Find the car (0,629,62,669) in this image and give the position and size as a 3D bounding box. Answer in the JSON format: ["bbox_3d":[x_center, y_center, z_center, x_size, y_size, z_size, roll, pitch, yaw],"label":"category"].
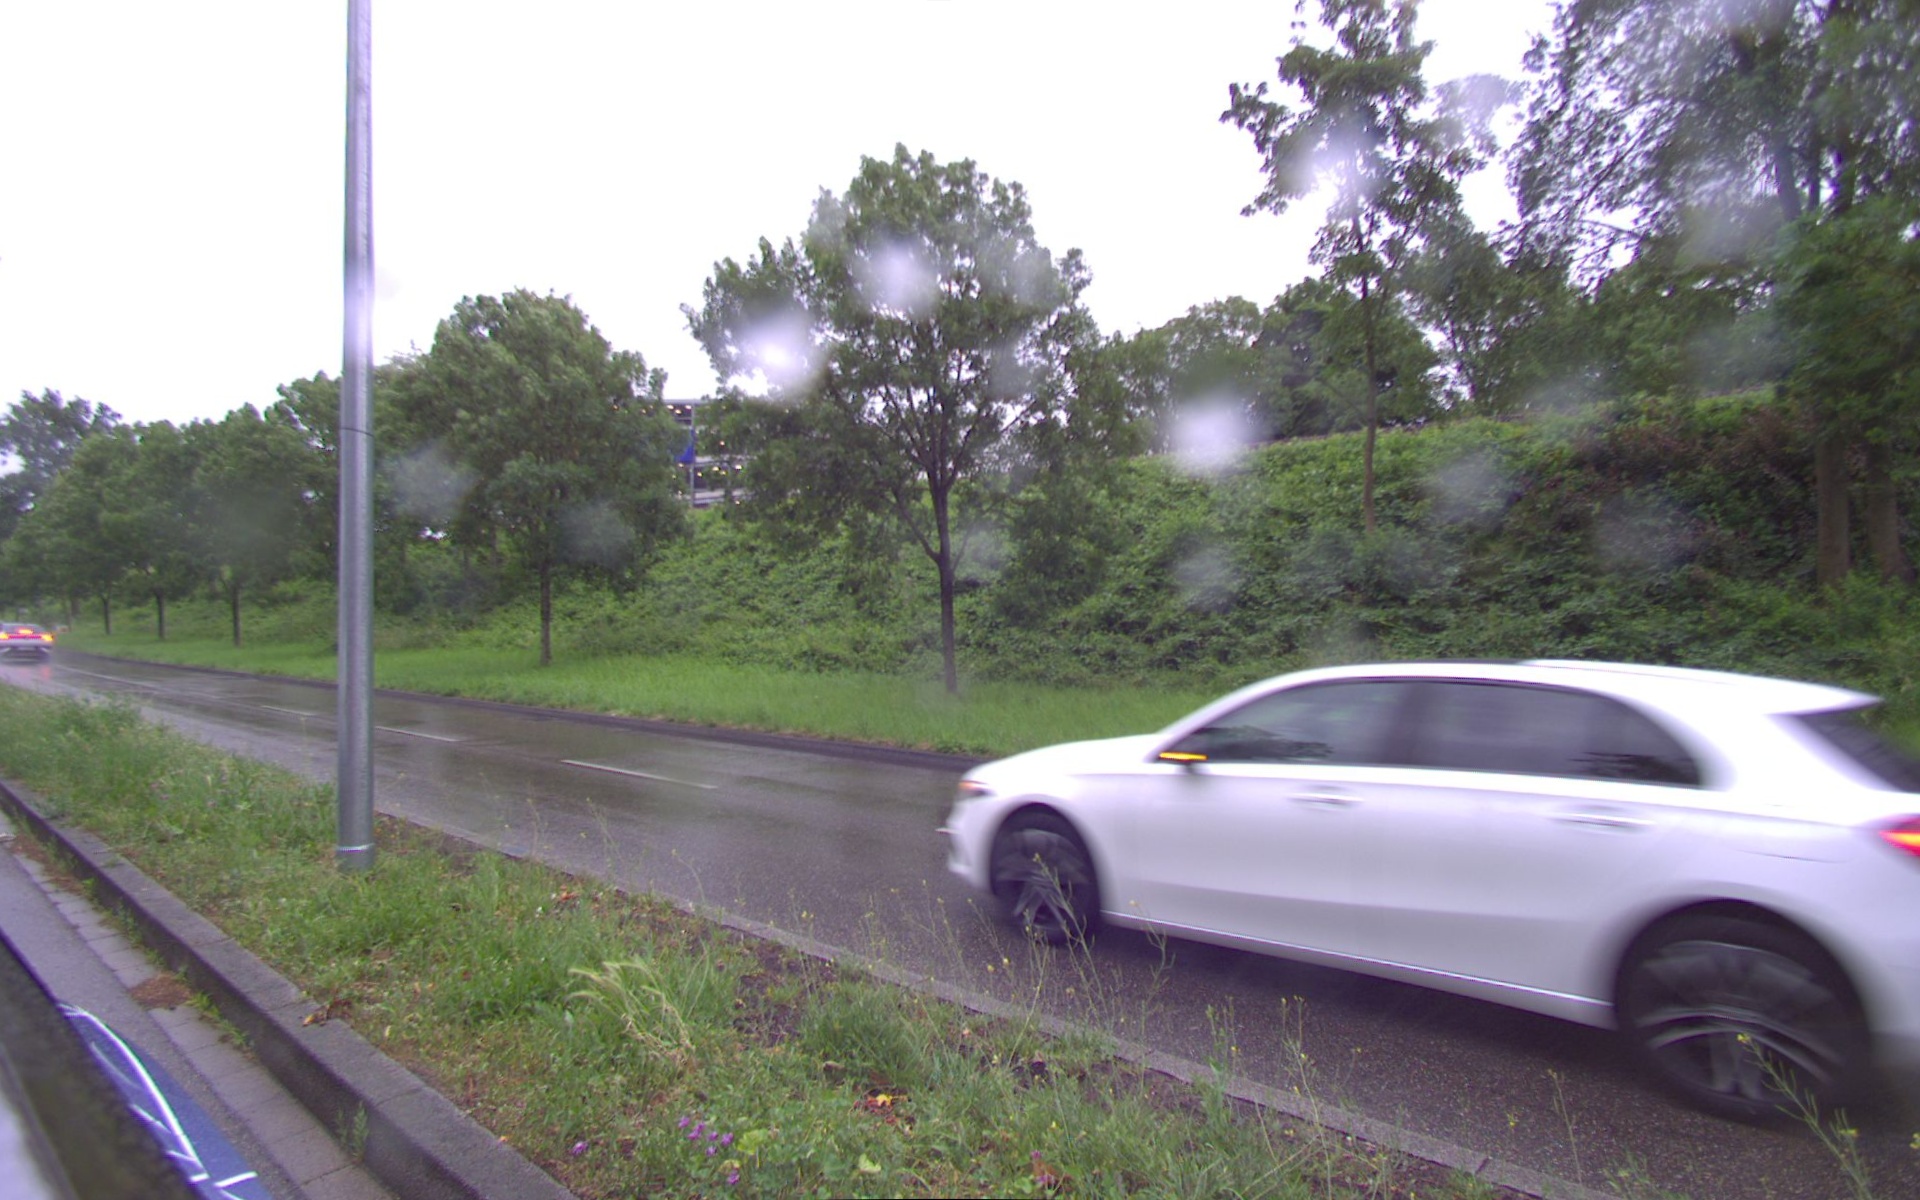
[{"bbox_3d":[-37.697,1.952,40.634,4.299,1.531,1.867,-2,-4,41],"label":"car"}]

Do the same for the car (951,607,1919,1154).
[{"bbox_3d":[2.055,0.842,4.570,4.045,1.531,1.716,0,-4,41],"label":"car"}]
